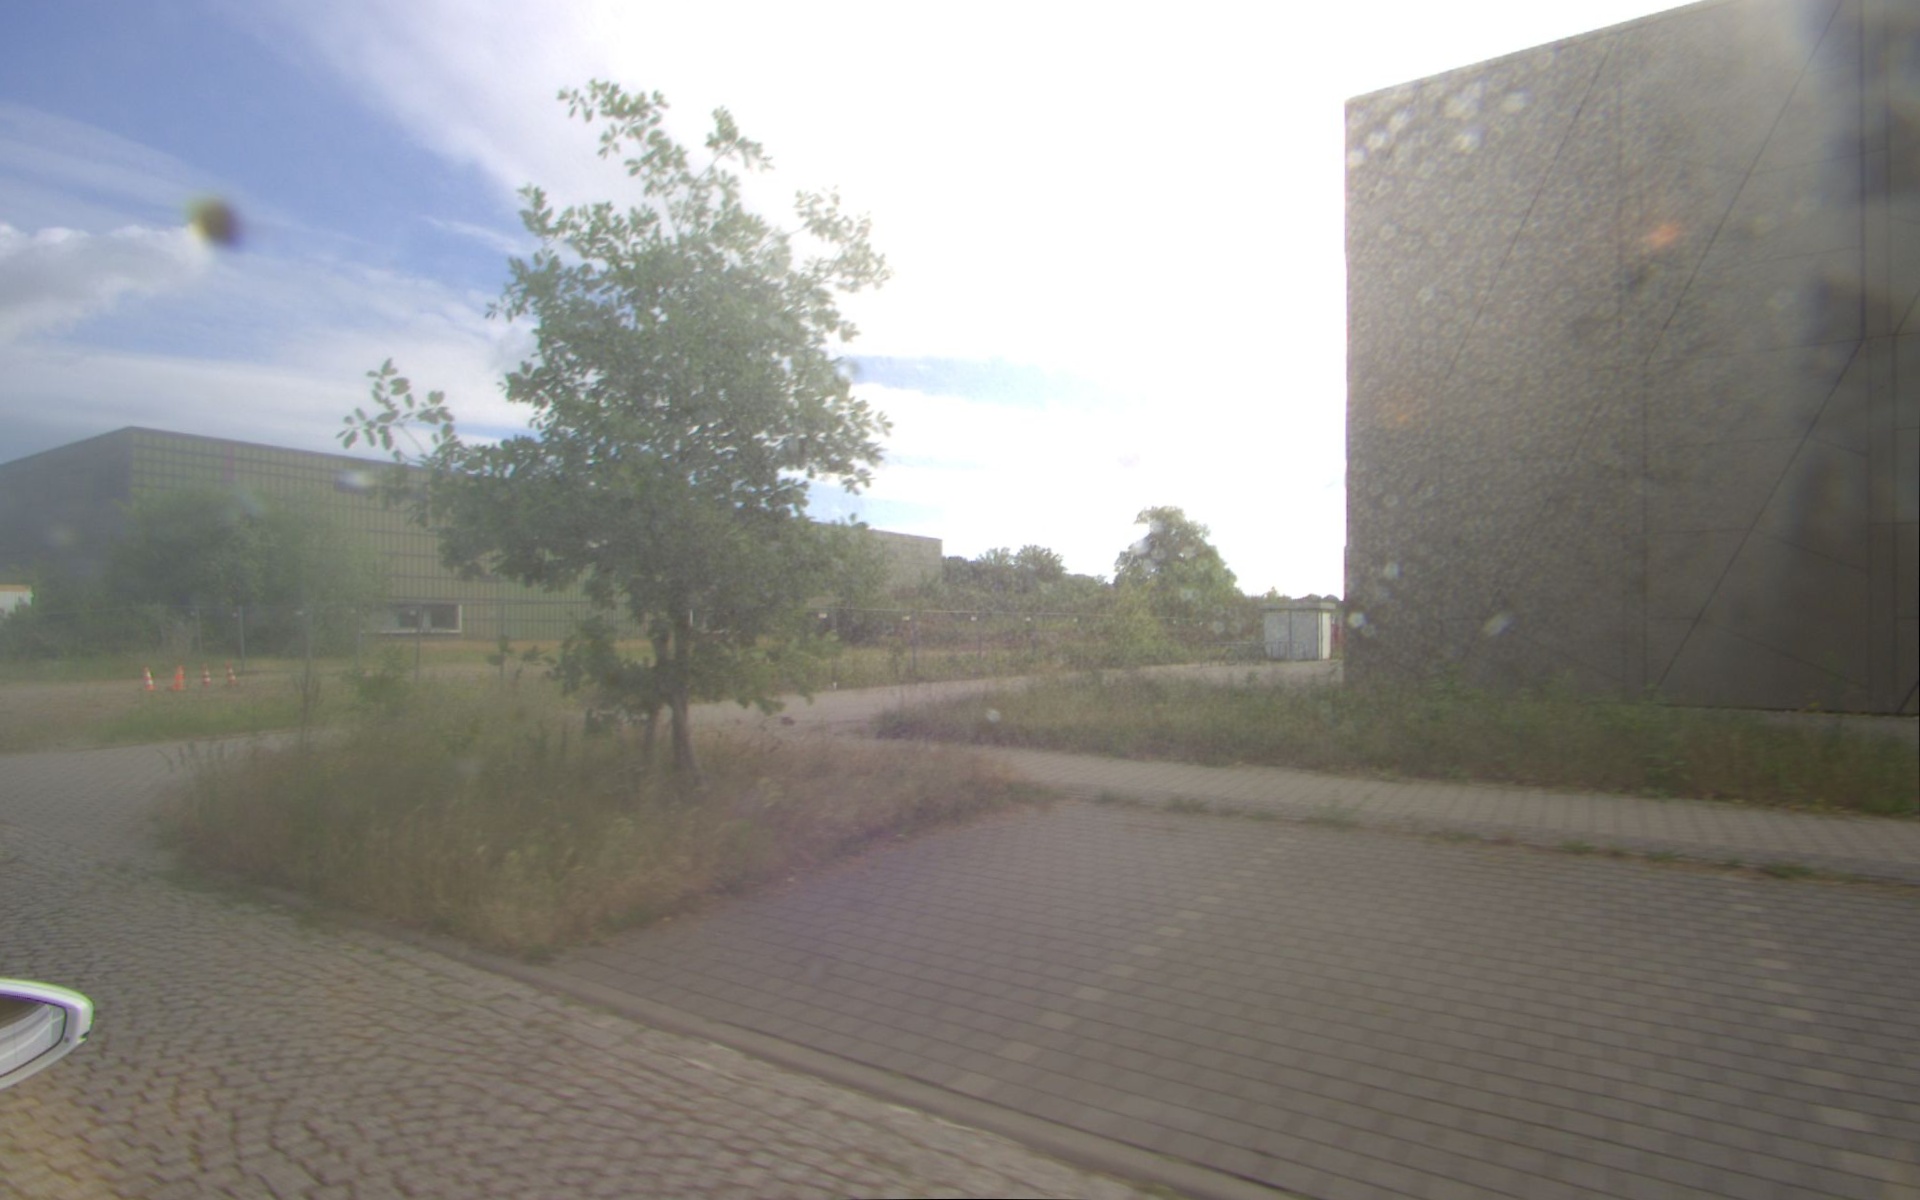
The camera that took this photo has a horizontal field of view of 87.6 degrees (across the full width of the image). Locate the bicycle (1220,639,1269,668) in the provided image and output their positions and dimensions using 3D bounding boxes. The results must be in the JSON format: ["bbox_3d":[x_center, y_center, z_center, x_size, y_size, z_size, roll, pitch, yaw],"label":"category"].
[{"bbox_3d":[10.891,2.049,38.367,1.740,1.112,0.519,-1,-3,35],"label":"bicycle"}]
